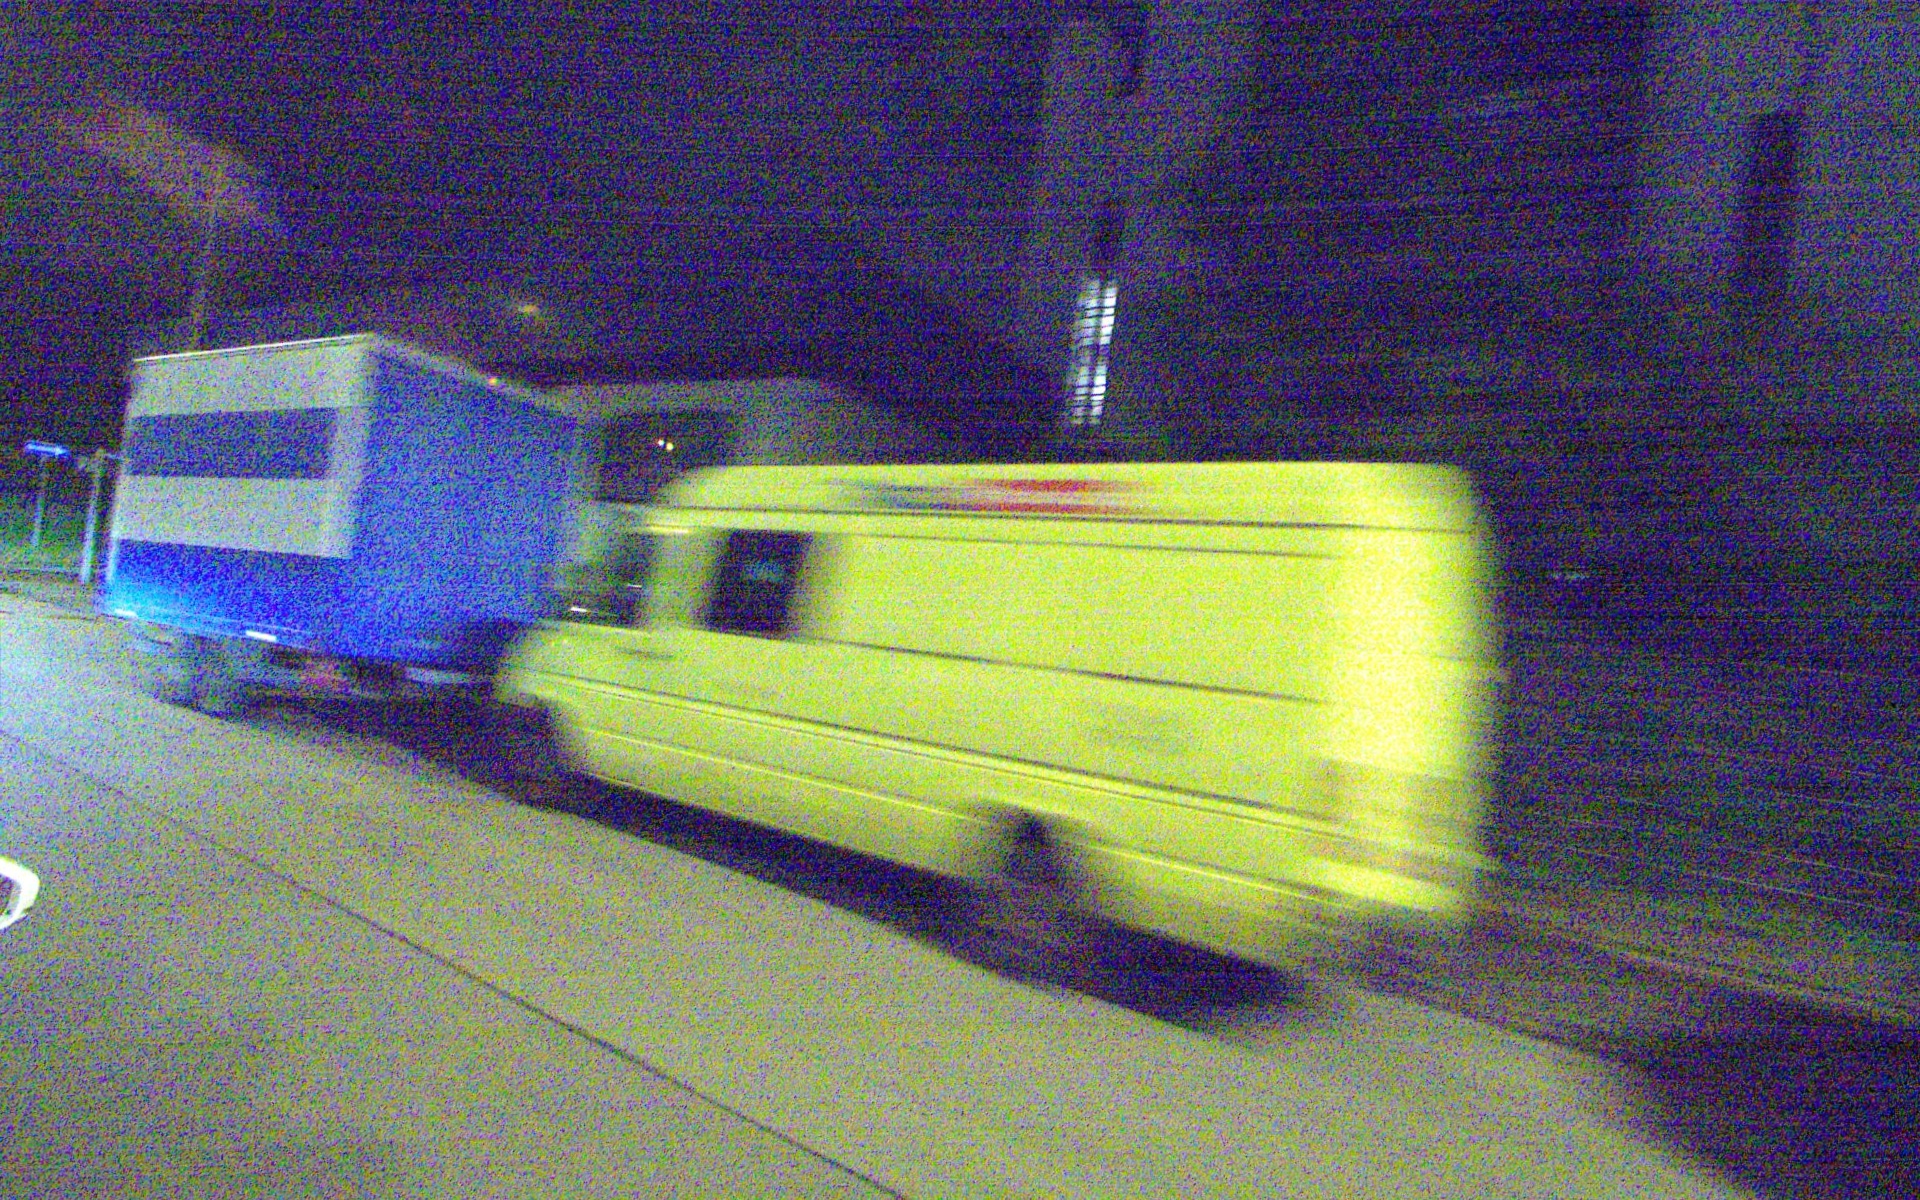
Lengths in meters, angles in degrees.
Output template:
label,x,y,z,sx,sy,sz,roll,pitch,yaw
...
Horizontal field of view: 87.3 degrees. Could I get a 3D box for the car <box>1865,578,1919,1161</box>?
label,x,y,z,sx,sy,sz,roll,pitch,yaw
car,6.327,1.164,2.235,5.924,2.576,1.999,6,-3,31

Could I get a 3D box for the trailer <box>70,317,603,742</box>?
label,x,y,z,sx,sy,sz,roll,pitch,yaw
trailer,-6.188,-0.622,9.995,4.288,3.363,2.405,6,-2,30

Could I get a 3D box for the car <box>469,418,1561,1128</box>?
label,x,y,z,sx,sy,sz,roll,pitch,yaw
car,-0.215,0.456,6.307,6.541,2.576,1.944,6,-3,35
